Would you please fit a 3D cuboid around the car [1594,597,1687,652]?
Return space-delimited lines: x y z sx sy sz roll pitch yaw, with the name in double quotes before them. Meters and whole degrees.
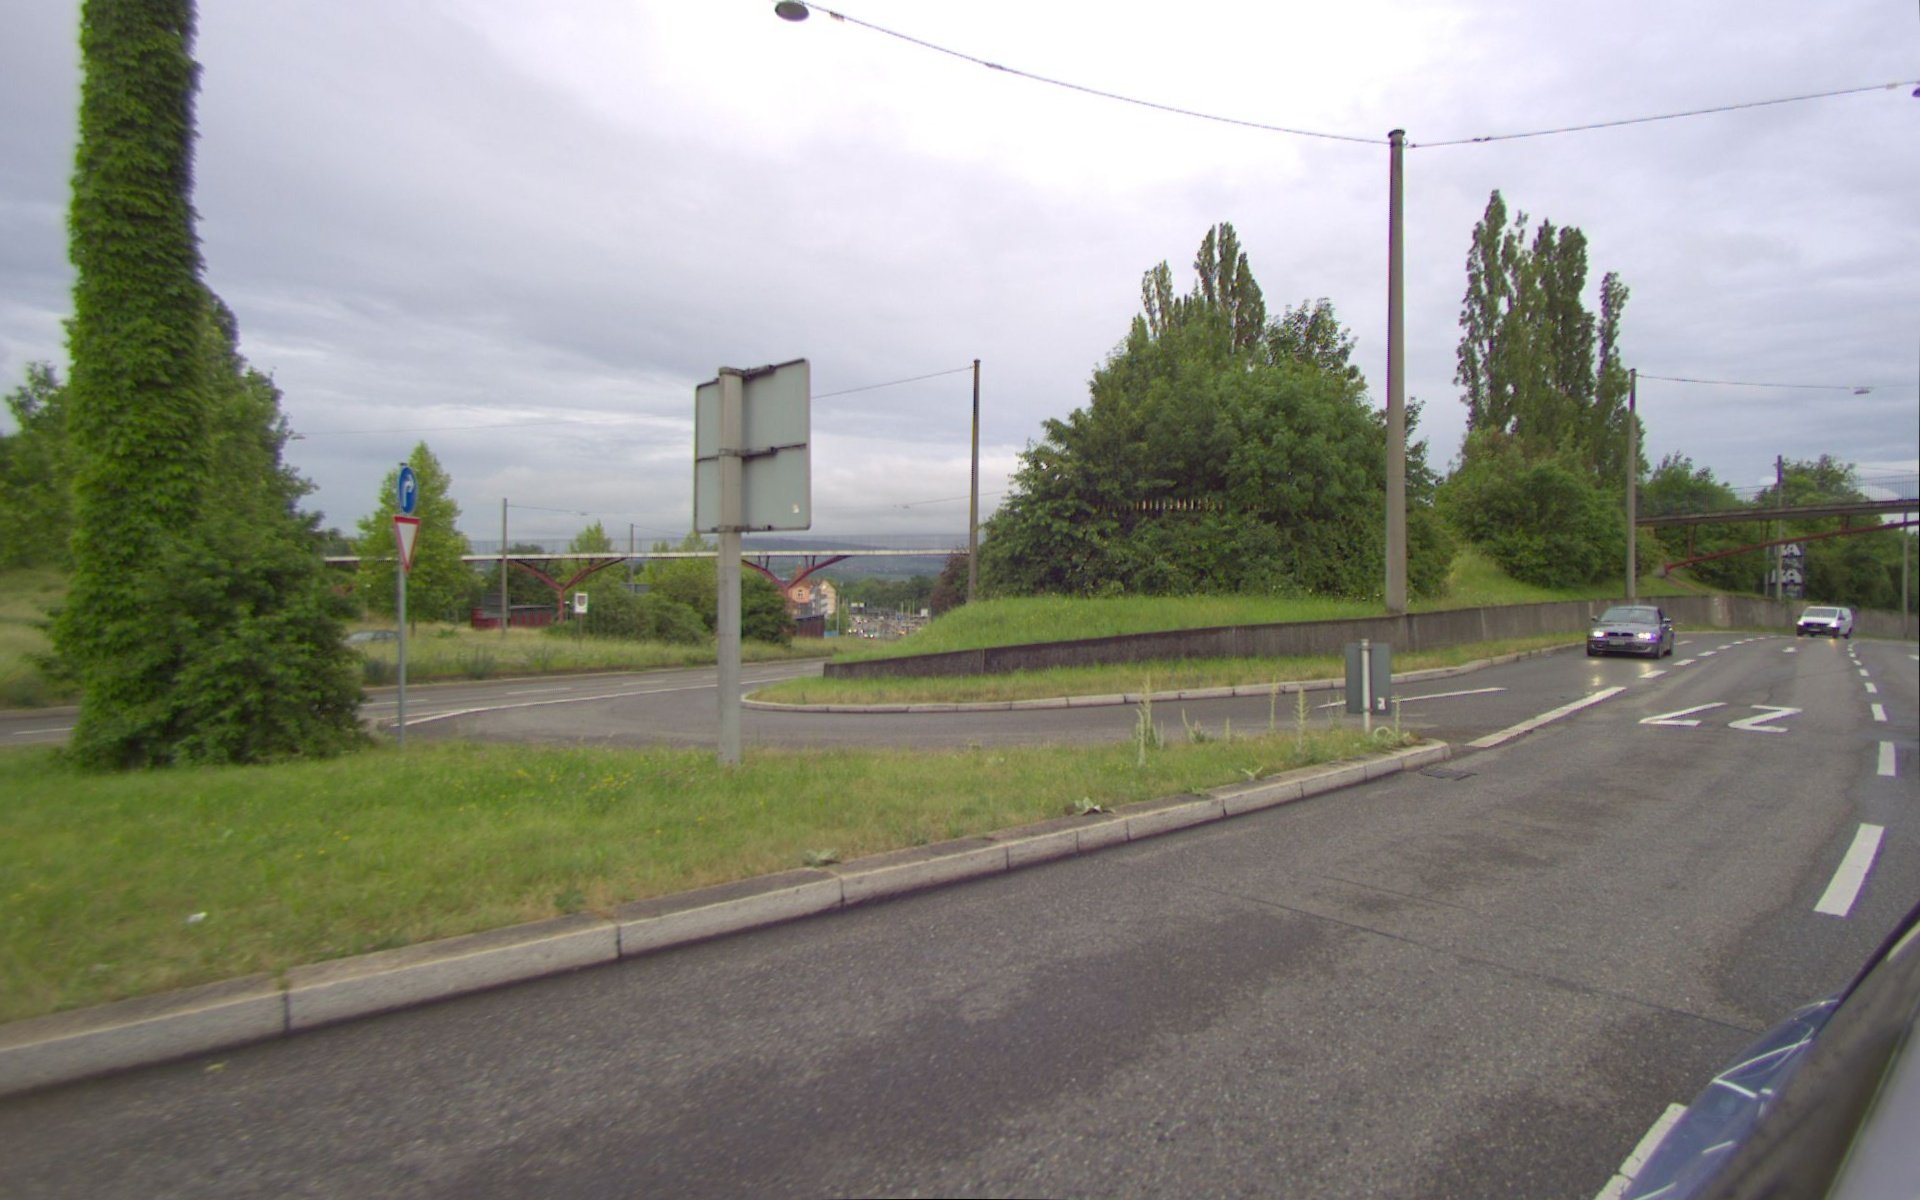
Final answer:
"car" 19.177 0.670 28.460 1.678 1.438 4.021 -1 -2 41

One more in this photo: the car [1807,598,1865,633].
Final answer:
"car" 52.311 0.904 60.402 4.740 1.871 1.997 -1 3 -41
